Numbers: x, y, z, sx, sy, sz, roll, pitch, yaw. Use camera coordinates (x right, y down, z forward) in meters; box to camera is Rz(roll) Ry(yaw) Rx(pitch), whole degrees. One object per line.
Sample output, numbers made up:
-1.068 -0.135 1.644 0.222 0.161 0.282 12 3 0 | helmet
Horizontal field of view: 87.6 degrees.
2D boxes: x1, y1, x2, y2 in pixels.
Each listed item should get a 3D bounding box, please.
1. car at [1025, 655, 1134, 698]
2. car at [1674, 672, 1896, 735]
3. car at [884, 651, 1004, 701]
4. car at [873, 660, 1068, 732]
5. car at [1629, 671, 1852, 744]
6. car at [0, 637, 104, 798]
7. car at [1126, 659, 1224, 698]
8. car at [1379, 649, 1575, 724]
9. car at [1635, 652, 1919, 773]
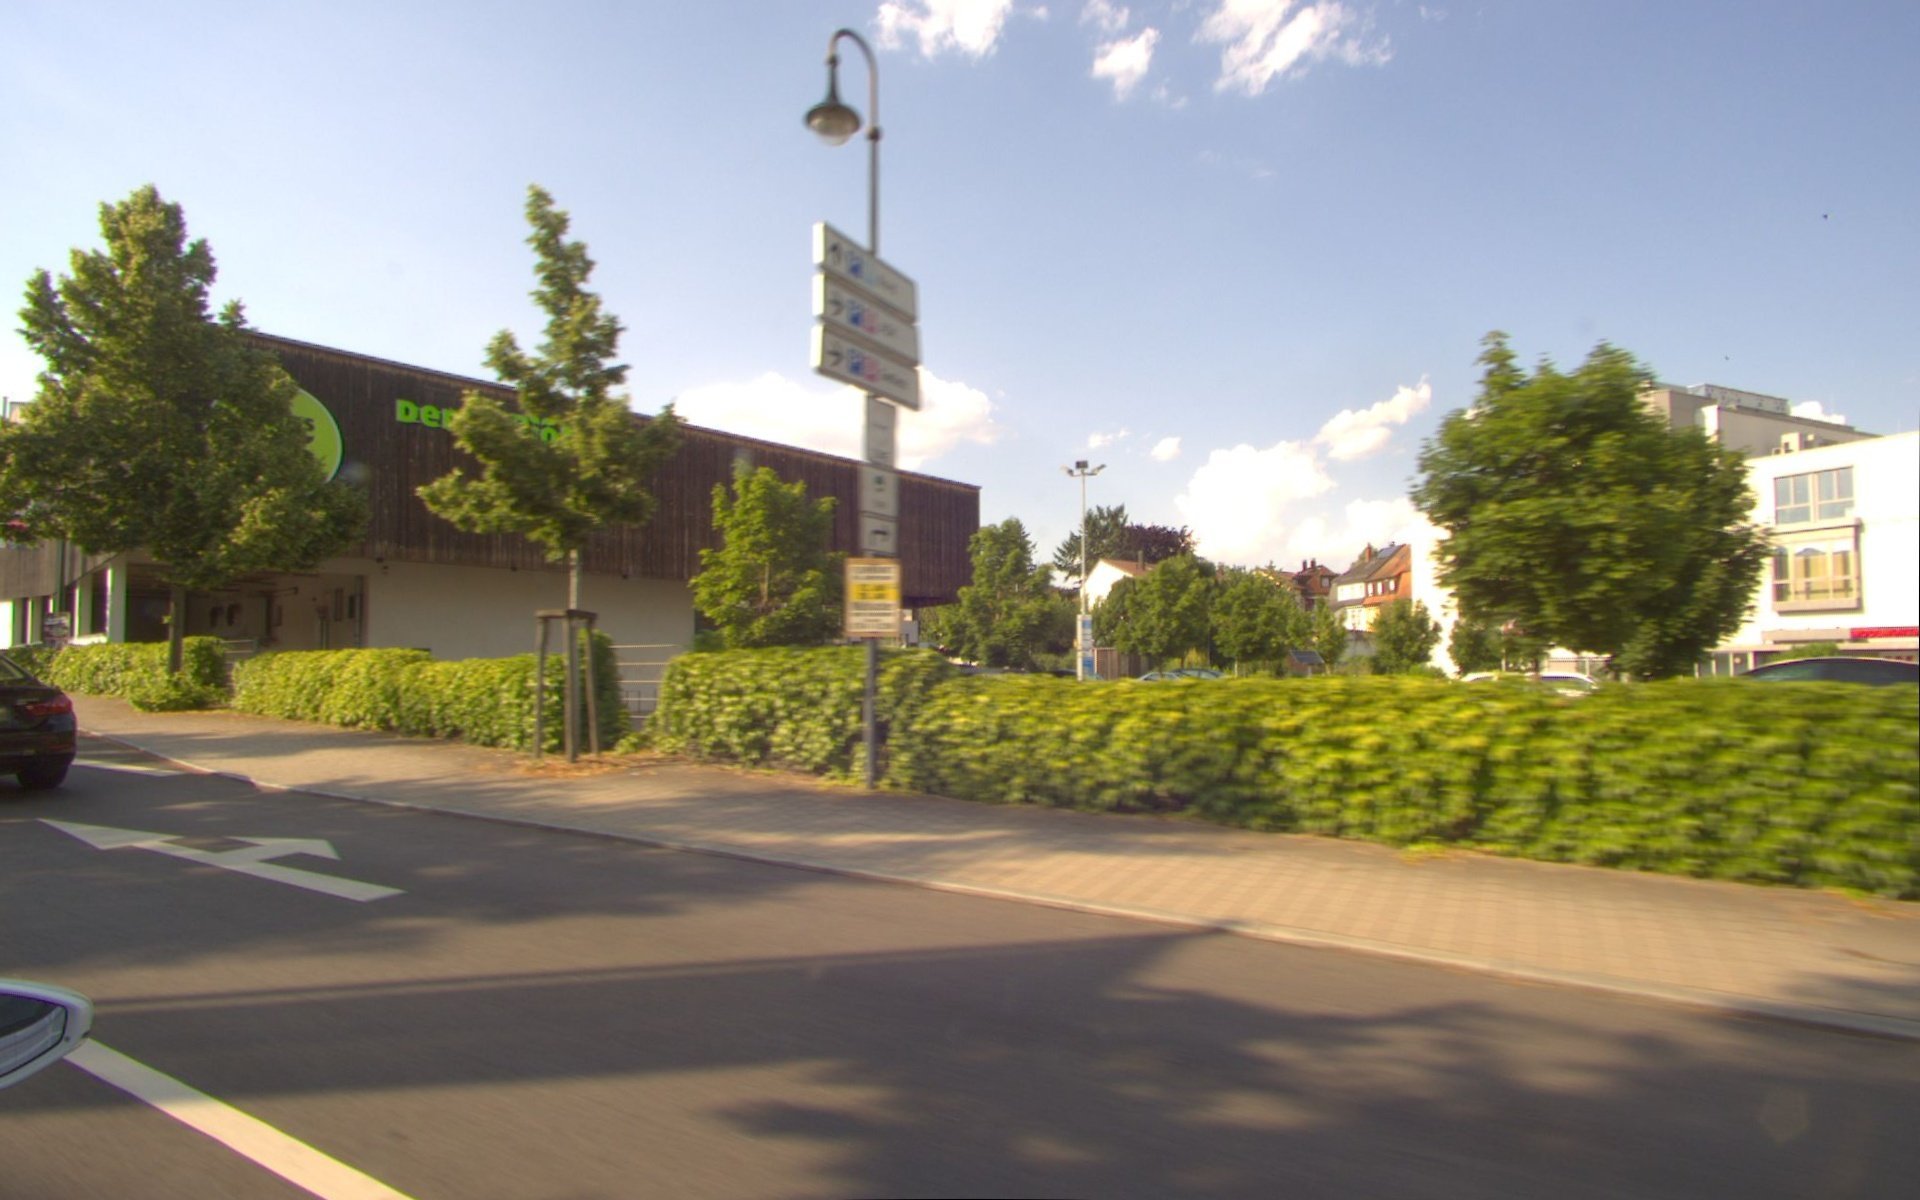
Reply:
4.784 3.050 40.423 3.953 1.570 1.986 -2 -3 40 | car
22.092 2.739 27.105 4.489 1.461 1.868 -2 -4 36 | car
-0.604 2.664 35.721 3.953 1.648 1.986 -2 -3 40 | car
0.212 2.288 24.601 4.489 1.558 1.988 -2 -4 36 | car
17.795 2.402 23.075 3.901 1.461 1.988 -2 -4 36 | car
-10.224 1.047 9.520 4.289 1.381 1.918 -1 -2 31 | car
9.833 3.579 45.869 3.953 1.648 1.986 -2 -3 40 | car
13.530 2.248 26.341 4.267 1.743 1.882 -1 -6 42 | car
12.395 1.576 14.320 4.489 1.550 1.990 -2 -5 36 | car
